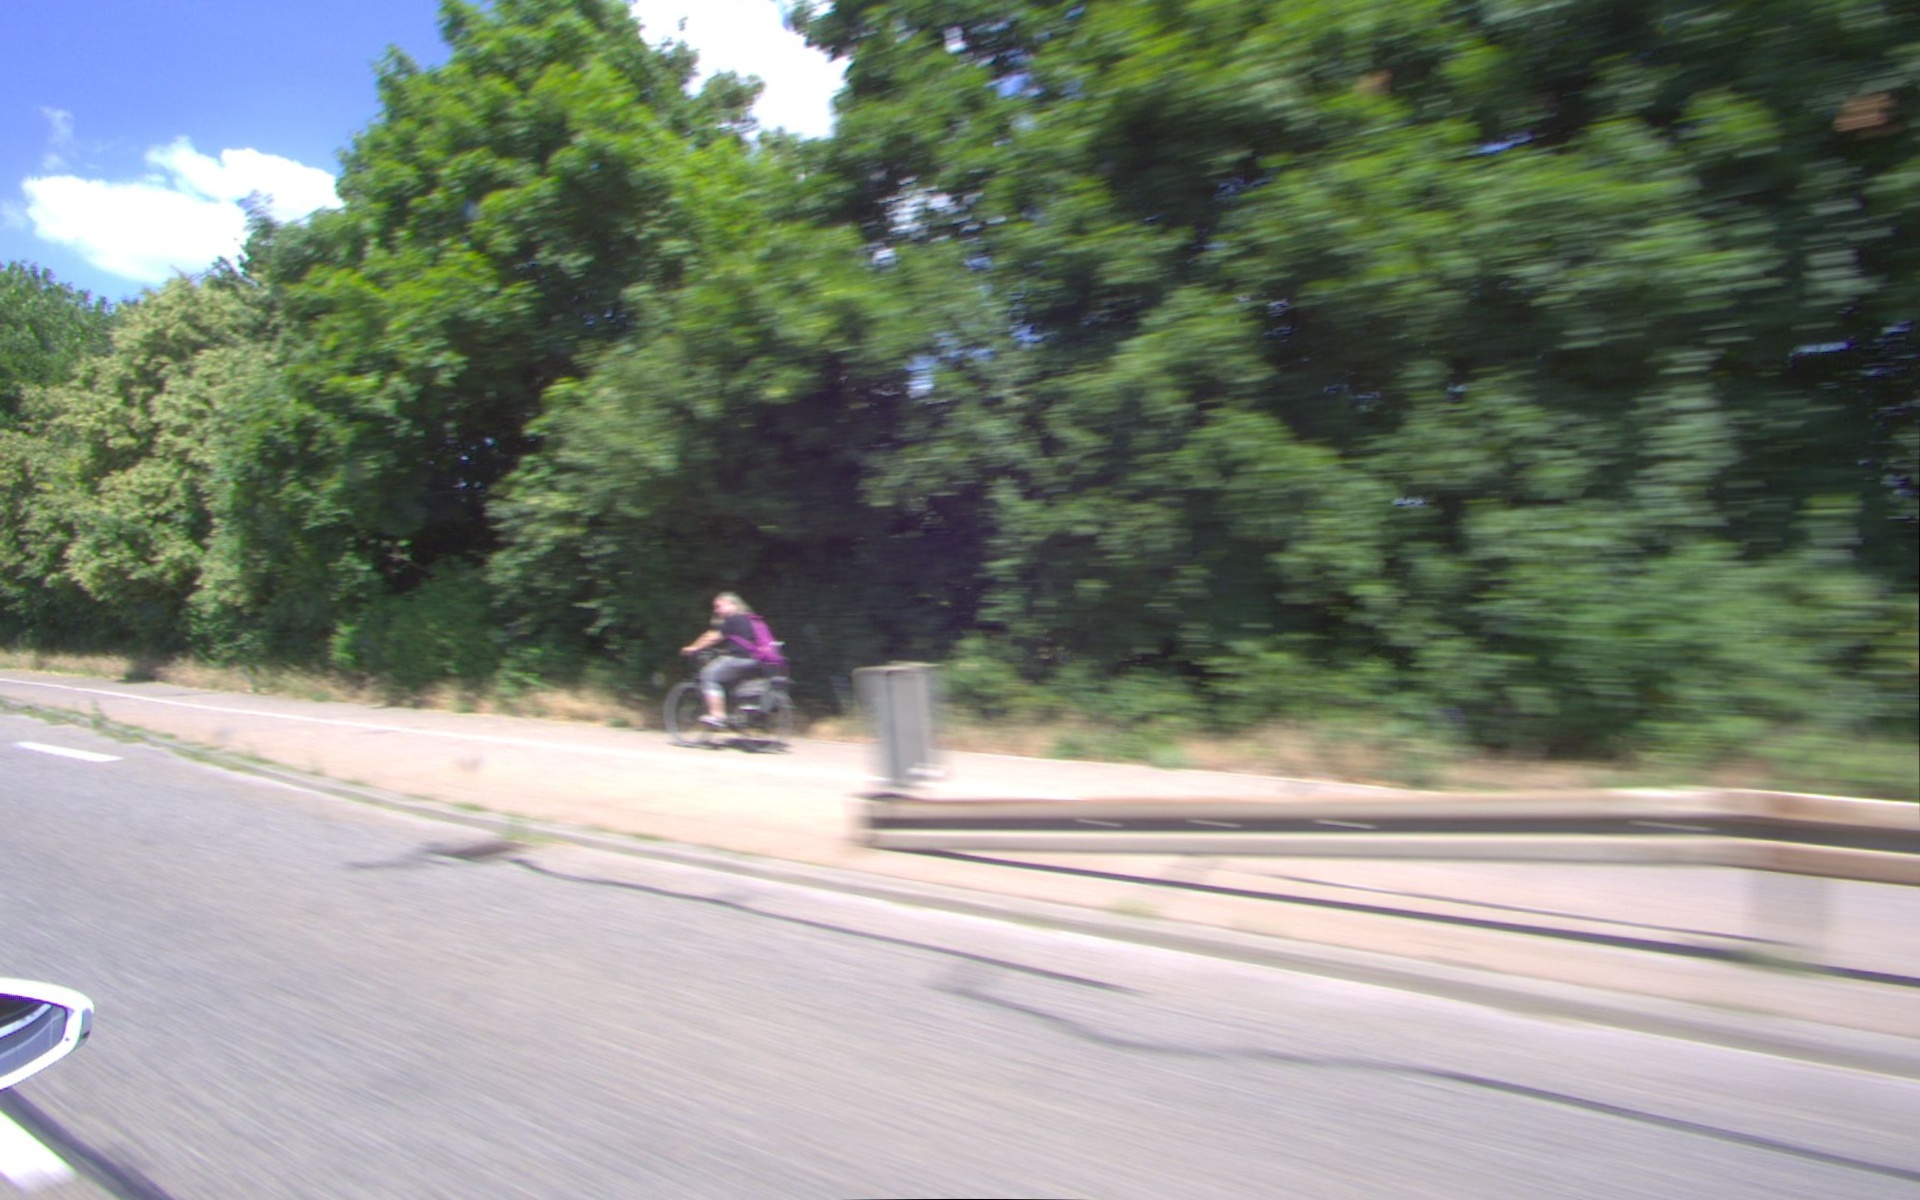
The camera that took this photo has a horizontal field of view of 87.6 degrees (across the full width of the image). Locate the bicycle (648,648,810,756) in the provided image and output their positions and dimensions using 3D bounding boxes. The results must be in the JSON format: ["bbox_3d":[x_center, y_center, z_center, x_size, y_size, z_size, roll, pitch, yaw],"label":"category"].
[{"bbox_3d":[-2.481,1.048,10.667,1.821,1.038,0.558,-1,0,32],"label":"bicycle"}]

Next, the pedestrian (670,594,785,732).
[{"bbox_3d":[-2.472,0.639,10.647,1.035,1.392,0.626,0,1,32],"label":"pedestrian"}]
